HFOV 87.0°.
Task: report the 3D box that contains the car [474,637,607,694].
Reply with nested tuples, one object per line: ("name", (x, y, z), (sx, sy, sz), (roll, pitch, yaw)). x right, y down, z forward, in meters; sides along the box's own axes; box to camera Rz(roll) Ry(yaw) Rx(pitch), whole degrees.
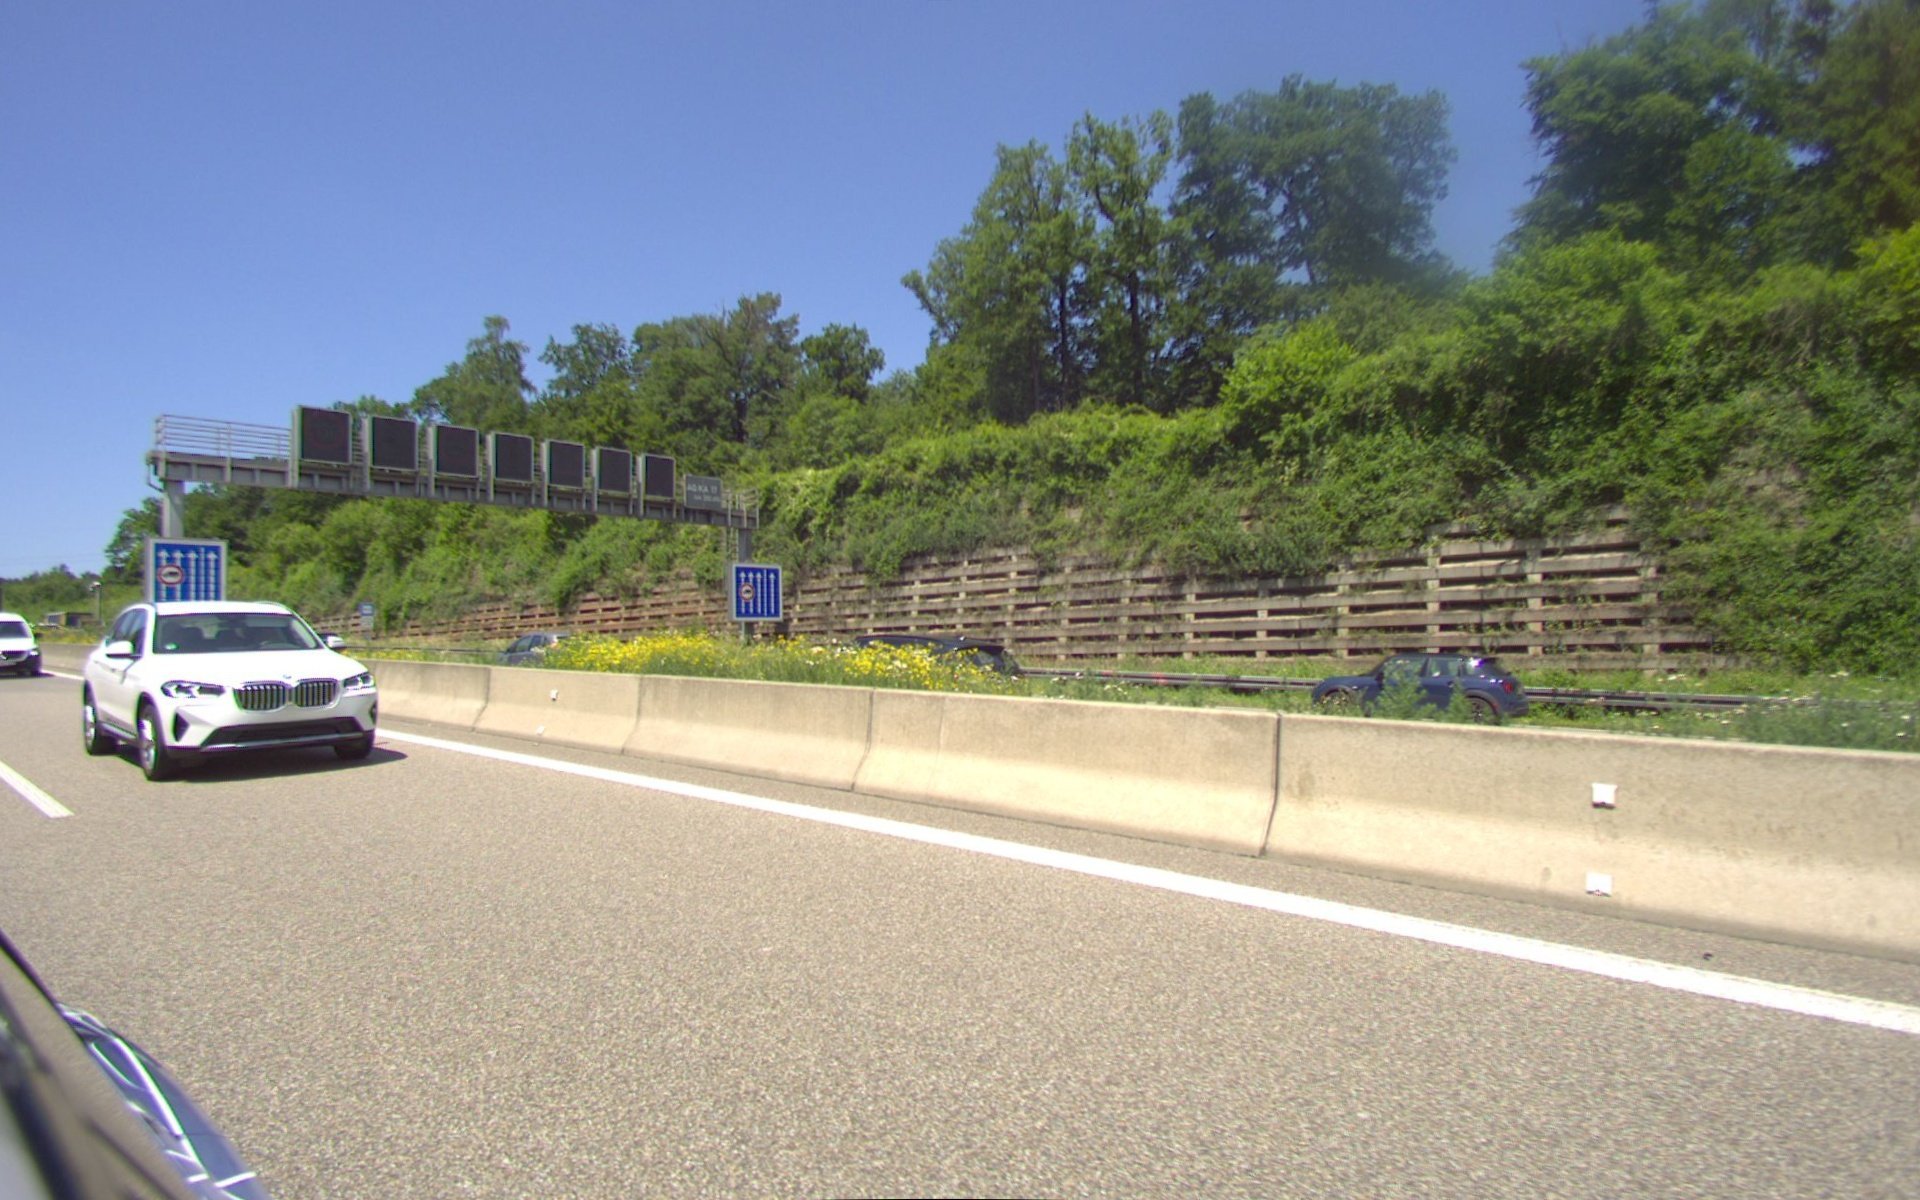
("car", (-12.277, 1.870, 29.501), (4.371, 1.537, 1.878), (-2, -3, 42))

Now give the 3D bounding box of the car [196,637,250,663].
("car", (-46.486, 3.150, 63.819), (4.371, 1.537, 1.878), (-2, -3, 42))

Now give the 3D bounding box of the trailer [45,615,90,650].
("trailer", (-113.407, 4.223, 128.484), (14.467, 4.239, 2.945), (-2, -4, 44))

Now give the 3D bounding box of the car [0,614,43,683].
("car", (-27.055, 1.342, 28.042), (4.500, 1.788, 1.972), (-2, 0, 42))

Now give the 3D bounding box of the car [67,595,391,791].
("car", (-7.895, 0.859, 10.770), (4.365, 1.656, 1.826), (-2, -1, 41))

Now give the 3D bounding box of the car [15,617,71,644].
("car", (-62.225, 2.107, 68.648), (5.990, 1.700, 1.977), (-2, -3, 40))

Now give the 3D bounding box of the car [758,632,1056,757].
("car", (-0.892, 1.261, 14.596), (4.371, 1.537, 1.709), (-2, -3, 42))

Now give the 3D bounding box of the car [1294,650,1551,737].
("car", (9.191, 1.783, 20.330), (4.370, 1.537, 1.766), (-2, -3, 41))

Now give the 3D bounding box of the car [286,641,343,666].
("car", (-40.774, 3.385, 63.922), (4.475, 1.506, 1.878), (-2, -3, 42))

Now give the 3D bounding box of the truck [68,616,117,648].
("truck", (-84.834, 3.193, 98.922), (7.057, 3.015, 2.552), (-2, -3, 41))

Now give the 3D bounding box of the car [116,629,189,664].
("car", (-37.397, 2.161, 46.836), (4.371, 1.537, 1.878), (-2, -3, 42))
